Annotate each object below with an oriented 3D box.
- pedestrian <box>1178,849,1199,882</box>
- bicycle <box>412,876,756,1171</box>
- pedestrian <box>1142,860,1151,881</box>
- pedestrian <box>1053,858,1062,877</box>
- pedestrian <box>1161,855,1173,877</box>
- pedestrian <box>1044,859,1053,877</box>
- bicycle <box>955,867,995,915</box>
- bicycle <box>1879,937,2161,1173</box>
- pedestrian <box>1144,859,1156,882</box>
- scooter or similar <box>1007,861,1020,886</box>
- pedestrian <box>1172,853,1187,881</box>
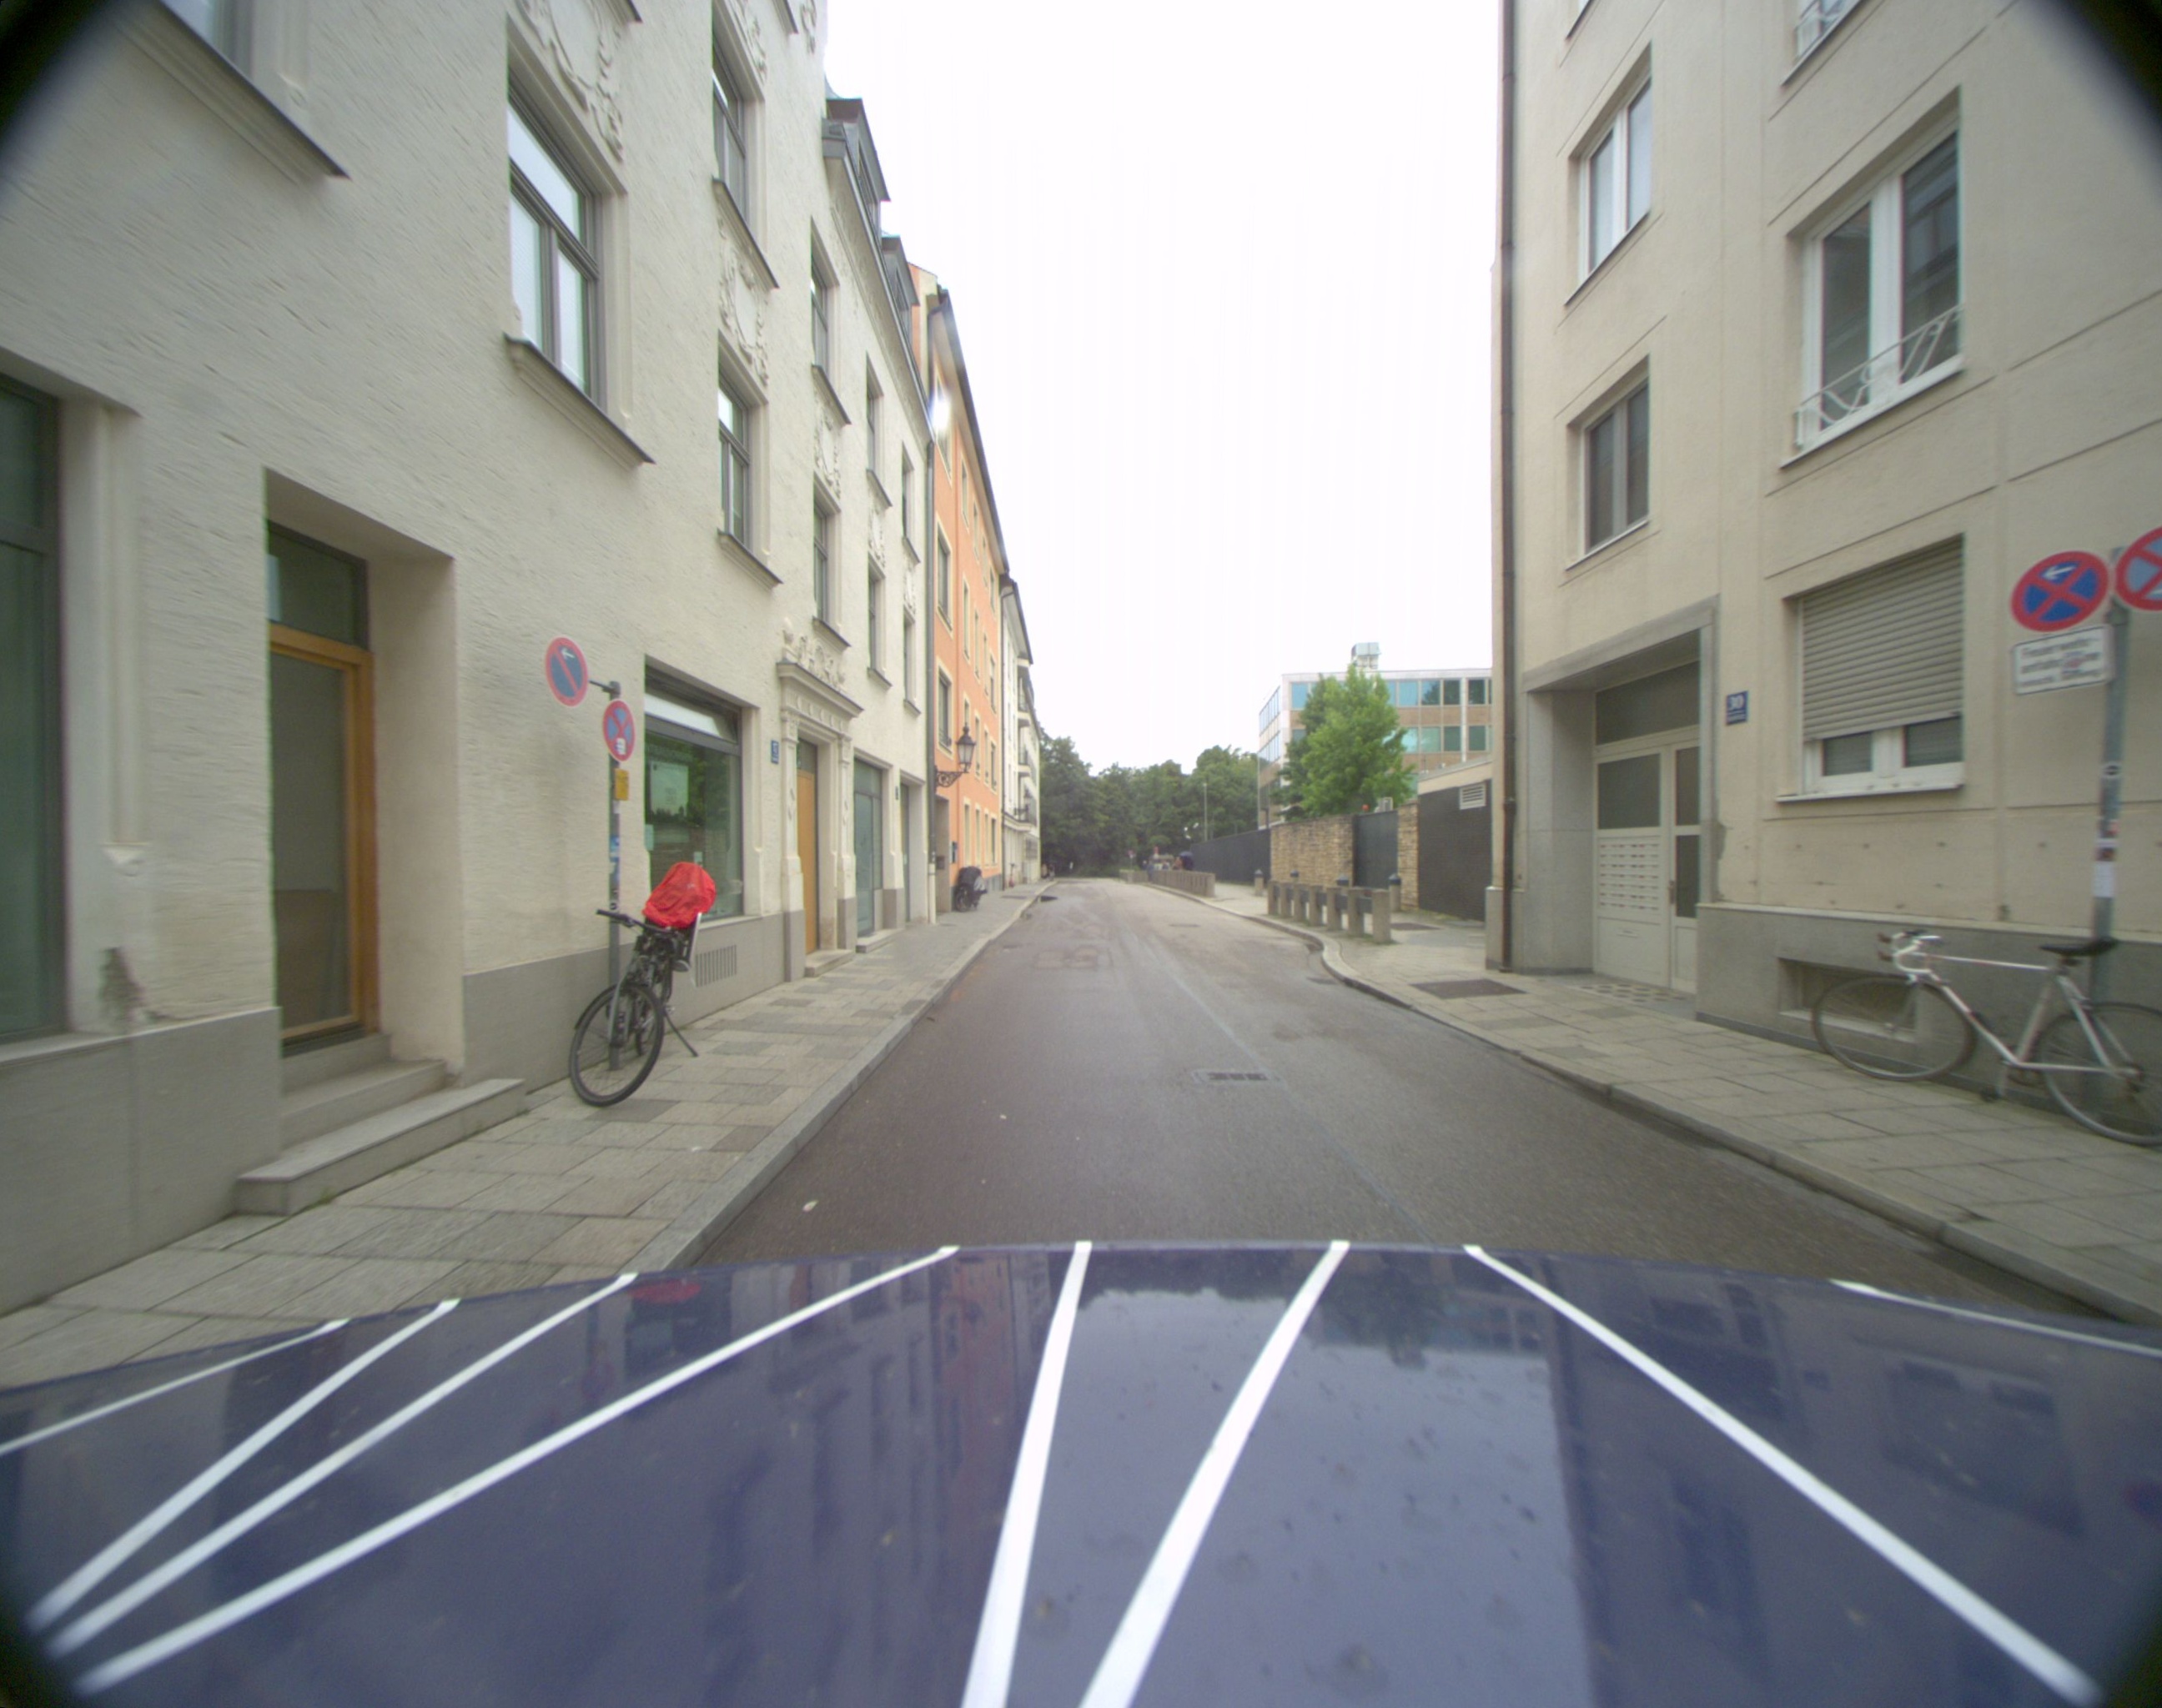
[{"bbox_3d":[7.064,0.744,49.901,1.226,2.091,1.117,-1,0,2],"label":"pedestrian"},{"bbox_3d":[-2.928,0.871,4.836,0.715,1.388,2.122,1,0,2],"label":"bicycle"},{"bbox_3d":[5.539,1.398,64.408,0.625,1.758,0.766,-1,0,-1],"label":"pedestrian"},{"bbox_3d":[-2.141,1.224,69.977,0.753,1.725,0.853,-1,0,-2],"label":"pedestrian"},{"bbox_3d":[6.174,0.866,54.692,0.779,1.531,0.933,-3,0,7],"label":"pedestrian"},{"bbox_3d":[-2.972,1.267,69.577,0.753,1.670,0.656,-1,0,-2],"label":"pedestrian"},{"bbox_3d":[-3.007,1.021,21.780,0.681,1.233,2.382,3,0,2],"label":"bicycle"},{"bbox_3d":[5.127,0.994,3.935,0.320,0.938,1.574,-4,0,1],"label":"bicycle"},{"bbox_3d":[4.457,1.067,49.167,0.640,1.458,1.079,-3,0,0],"label":"pedestrian"},{"bbox_3d":[-3.577,1.017,40.342,0.466,1.251,1.275,1,0,-14],"label":"scooter or similar"},{"bbox_3d":[6.287,0.846,48.644,0.826,1.712,0.906,-3,0,5],"label":"pedestrian"}]
